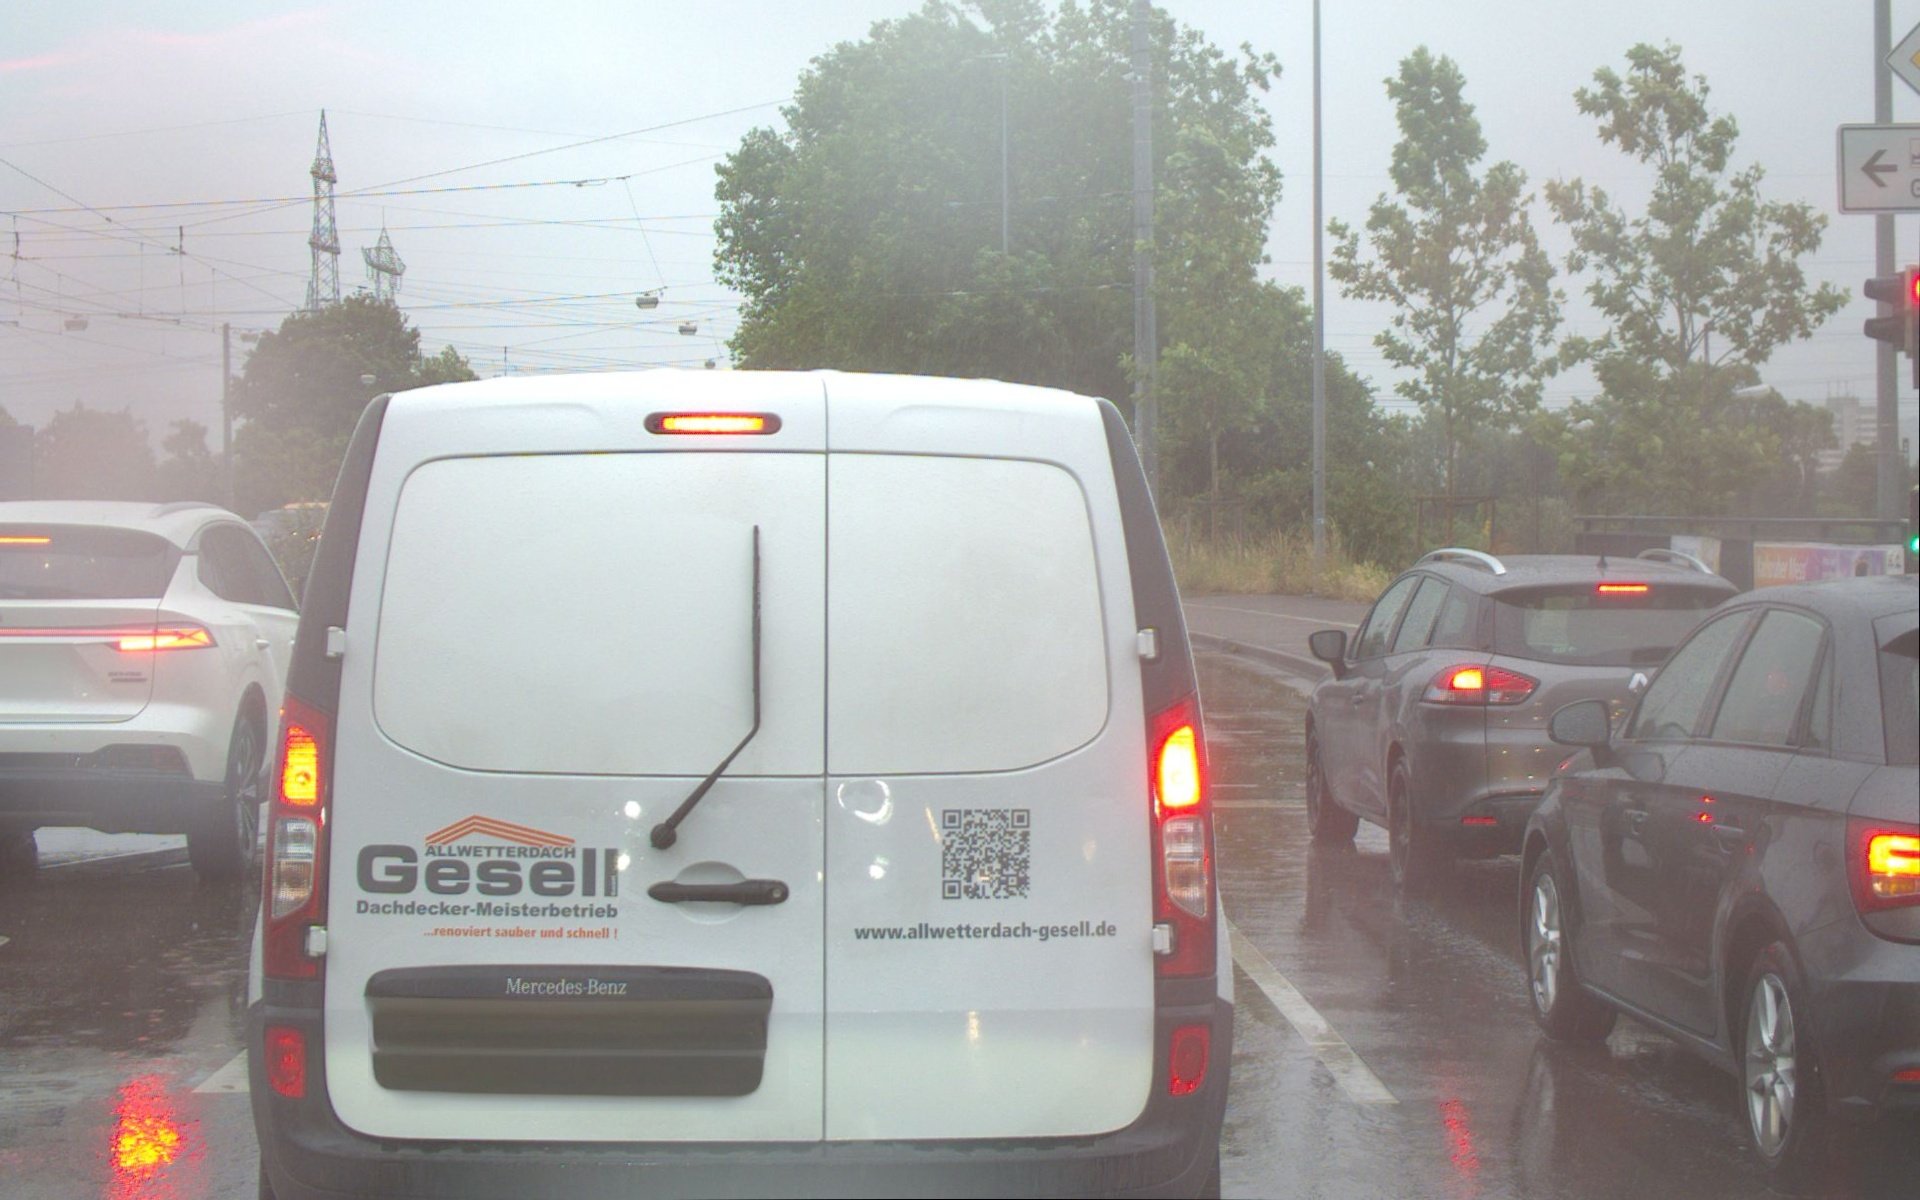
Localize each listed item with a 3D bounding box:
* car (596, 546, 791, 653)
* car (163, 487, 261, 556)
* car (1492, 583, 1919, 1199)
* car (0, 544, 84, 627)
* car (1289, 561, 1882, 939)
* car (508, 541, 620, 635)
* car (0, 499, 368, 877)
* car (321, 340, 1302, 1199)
[{"bbox_3d":[-3.696,-0.025,48.290,1.506,1.417,3.864,1,1,15],"label":"car"},{"bbox_3d":[-22.621,-2.346,104.088,1.993,2.007,4.000,1,1,1],"label":"car"},{"bbox_3d":[2.533,0.649,8.927,1.629,1.340,3.624,1,1,-2],"label":"car"},{"bbox_3d":[-21.333,-0.347,77.432,1.929,1.820,3.999,1,1,4],"label":"car"},{"bbox_3d":[2.661,0.575,15.526,1.859,1.424,3.808,1,1,-2],"label":"car"},{"bbox_3d":[-6.648,-0.212,57.533,1.614,1.498,3.716,1,1,-10],"label":"car"},{"bbox_3d":[-3.964,0.301,16.138,1.728,1.530,4.298,1,1,-2],"label":"car"},{"bbox_3d":[-0.260,0.453,7.513,1.566,1.782,4.000,0,1,-1],"label":"car"}]
